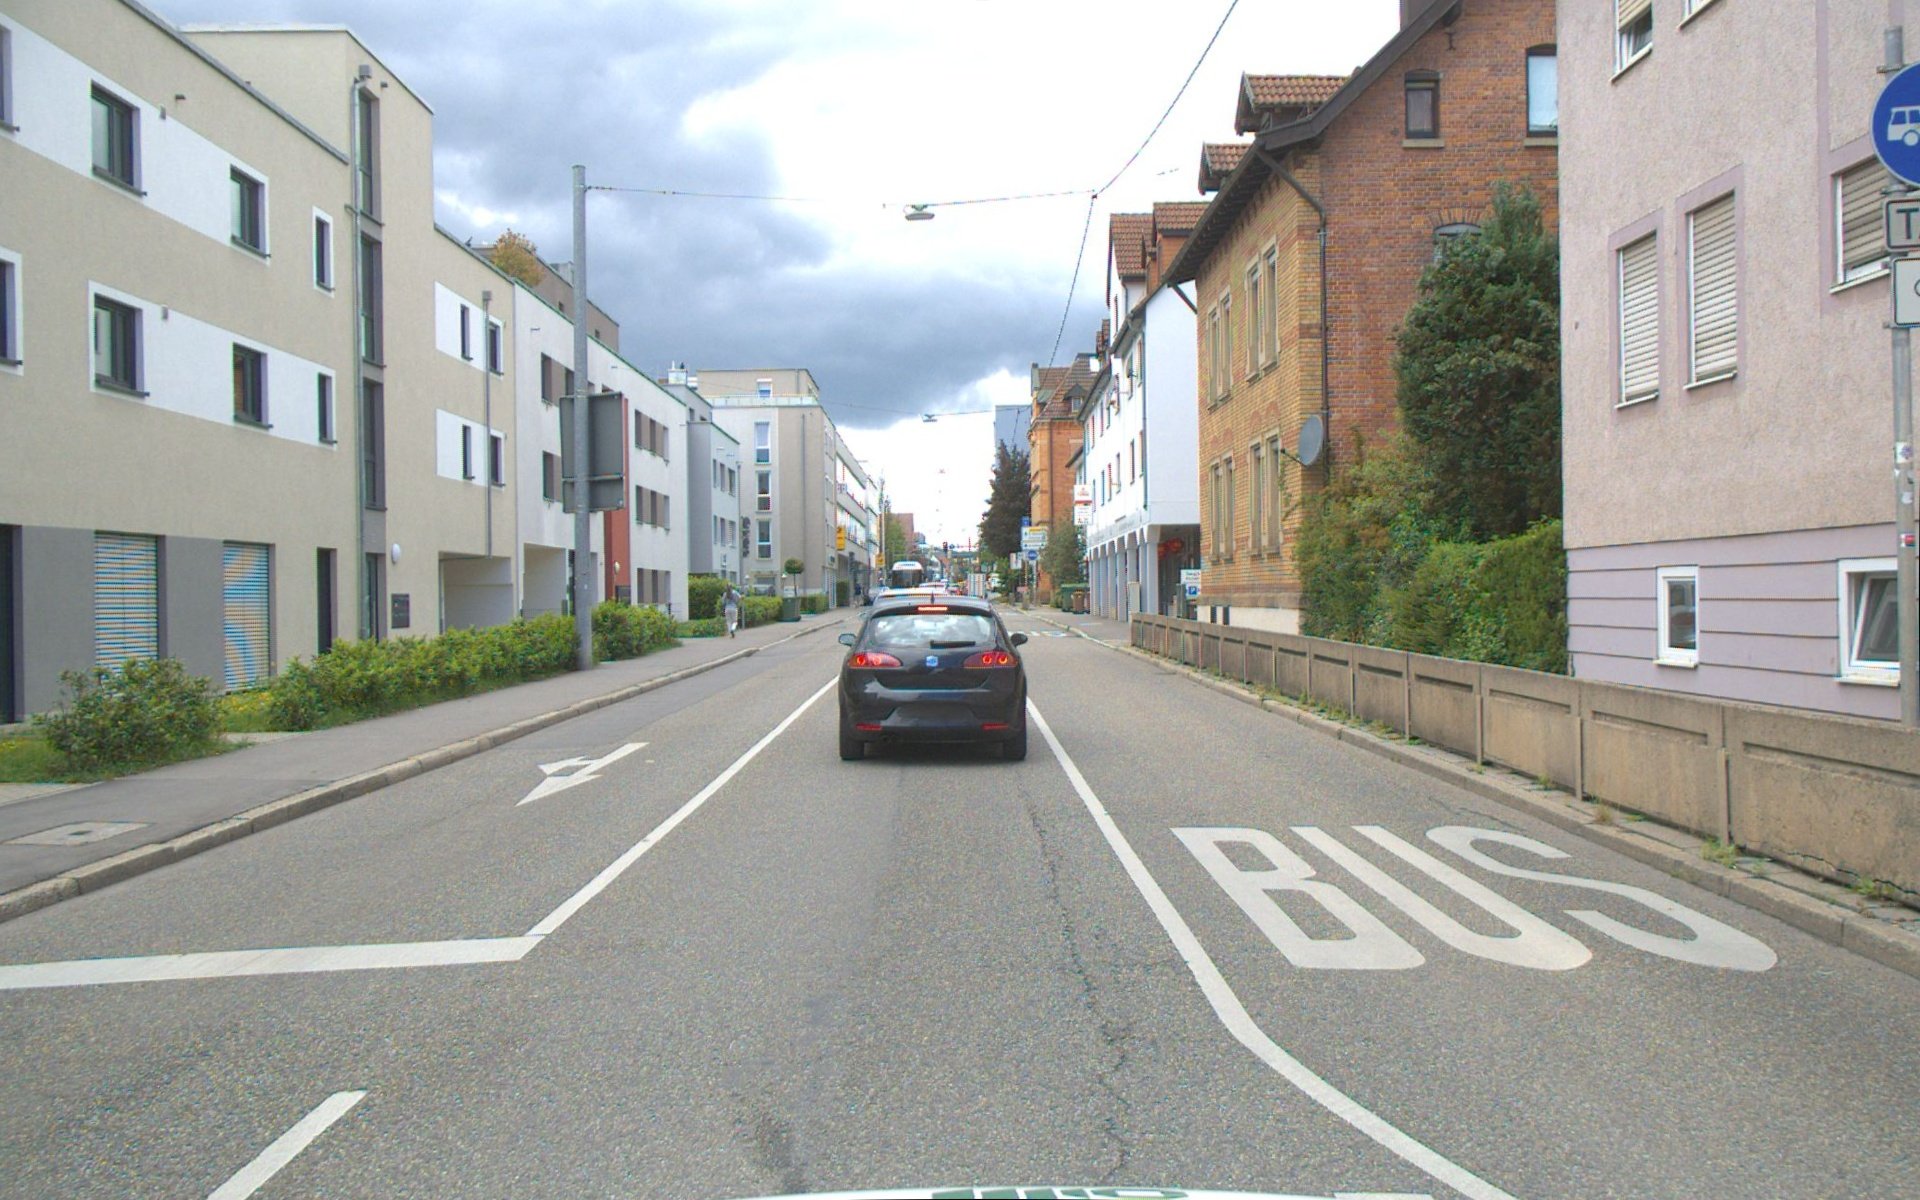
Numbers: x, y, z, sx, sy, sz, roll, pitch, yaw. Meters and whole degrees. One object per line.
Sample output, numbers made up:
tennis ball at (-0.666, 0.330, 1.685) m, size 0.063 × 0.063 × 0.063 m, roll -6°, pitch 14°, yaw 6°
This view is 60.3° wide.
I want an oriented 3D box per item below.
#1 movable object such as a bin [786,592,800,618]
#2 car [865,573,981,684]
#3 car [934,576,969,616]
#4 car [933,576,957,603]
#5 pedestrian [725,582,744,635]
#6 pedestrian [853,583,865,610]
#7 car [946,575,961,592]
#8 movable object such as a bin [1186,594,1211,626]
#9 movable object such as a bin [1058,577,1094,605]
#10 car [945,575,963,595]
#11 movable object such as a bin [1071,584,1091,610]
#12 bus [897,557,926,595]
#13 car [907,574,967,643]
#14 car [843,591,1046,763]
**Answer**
movable object such as a bin at (-7.004, 0.213, 69.358) m, size 0.538 × 1.097 × 0.612 m, roll 0°, pitch 0°, yaw 0°
car at (-0.602, 0.433, 27.696) m, size 1.805 × 1.722 × 3.999 m, roll 0°, pitch 0°, yaw -1°
car at (-0.381, -0.192, 73.492) m, size 1.500 × 1.722 × 3.692 m, roll 0°, pitch 0°, yaw -1°
car at (-0.967, -0.702, 107.144) m, size 1.500 × 1.722 × 3.692 m, roll 0°, pitch 0°, yaw -1°
pedestrian at (-6.792, 0.258, 49.795) m, size 0.516 × 1.575 × 0.541 m, roll 0°, pitch 0°, yaw -1°
pedestrian at (-6.530, -0.243, 106.952) m, size 0.716 × 1.759 × 0.859 m, roll 0°, pitch 0°, yaw -1°
car at (-0.718, -1.787, 175.200) m, size 1.500 × 1.722 × 3.693 m, roll -1°, pitch 1°, yaw -1°
movable object such as a bin at (6.287, 0.266, 43.666) m, size 0.580 × 0.854 × 0.458 m, roll 0°, pitch 0°, yaw -1°
movable object such as a bin at (6.045, -0.470, 86.199) m, size 1.780 × 1.462 × 1.993 m, roll 0°, pitch 0°, yaw 0°
car at (-0.542, -1.391, 148.540) m, size 1.500 × 1.722 × 3.693 m, roll -1°, pitch 1°, yaw -1°
movable object such as a bin at (6.012, -0.148, 82.087) m, size 0.909 × 1.306 × 0.883 m, roll 0°, pitch 0°, yaw 0°
bus at (-3.930, -1.911, 135.081) m, size 2.165 × 2.936 × 8.919 m, roll 0°, pitch 0°, yaw 0°
car at (-0.605, 0.193, 43.220) m, size 1.500 × 1.722 × 3.692 m, roll 0°, pitch 0°, yaw -1°
car at (-0.146, 0.649, 16.095) m, size 1.723 × 1.467 × 4.000 m, roll 0°, pitch 0°, yaw 0°
